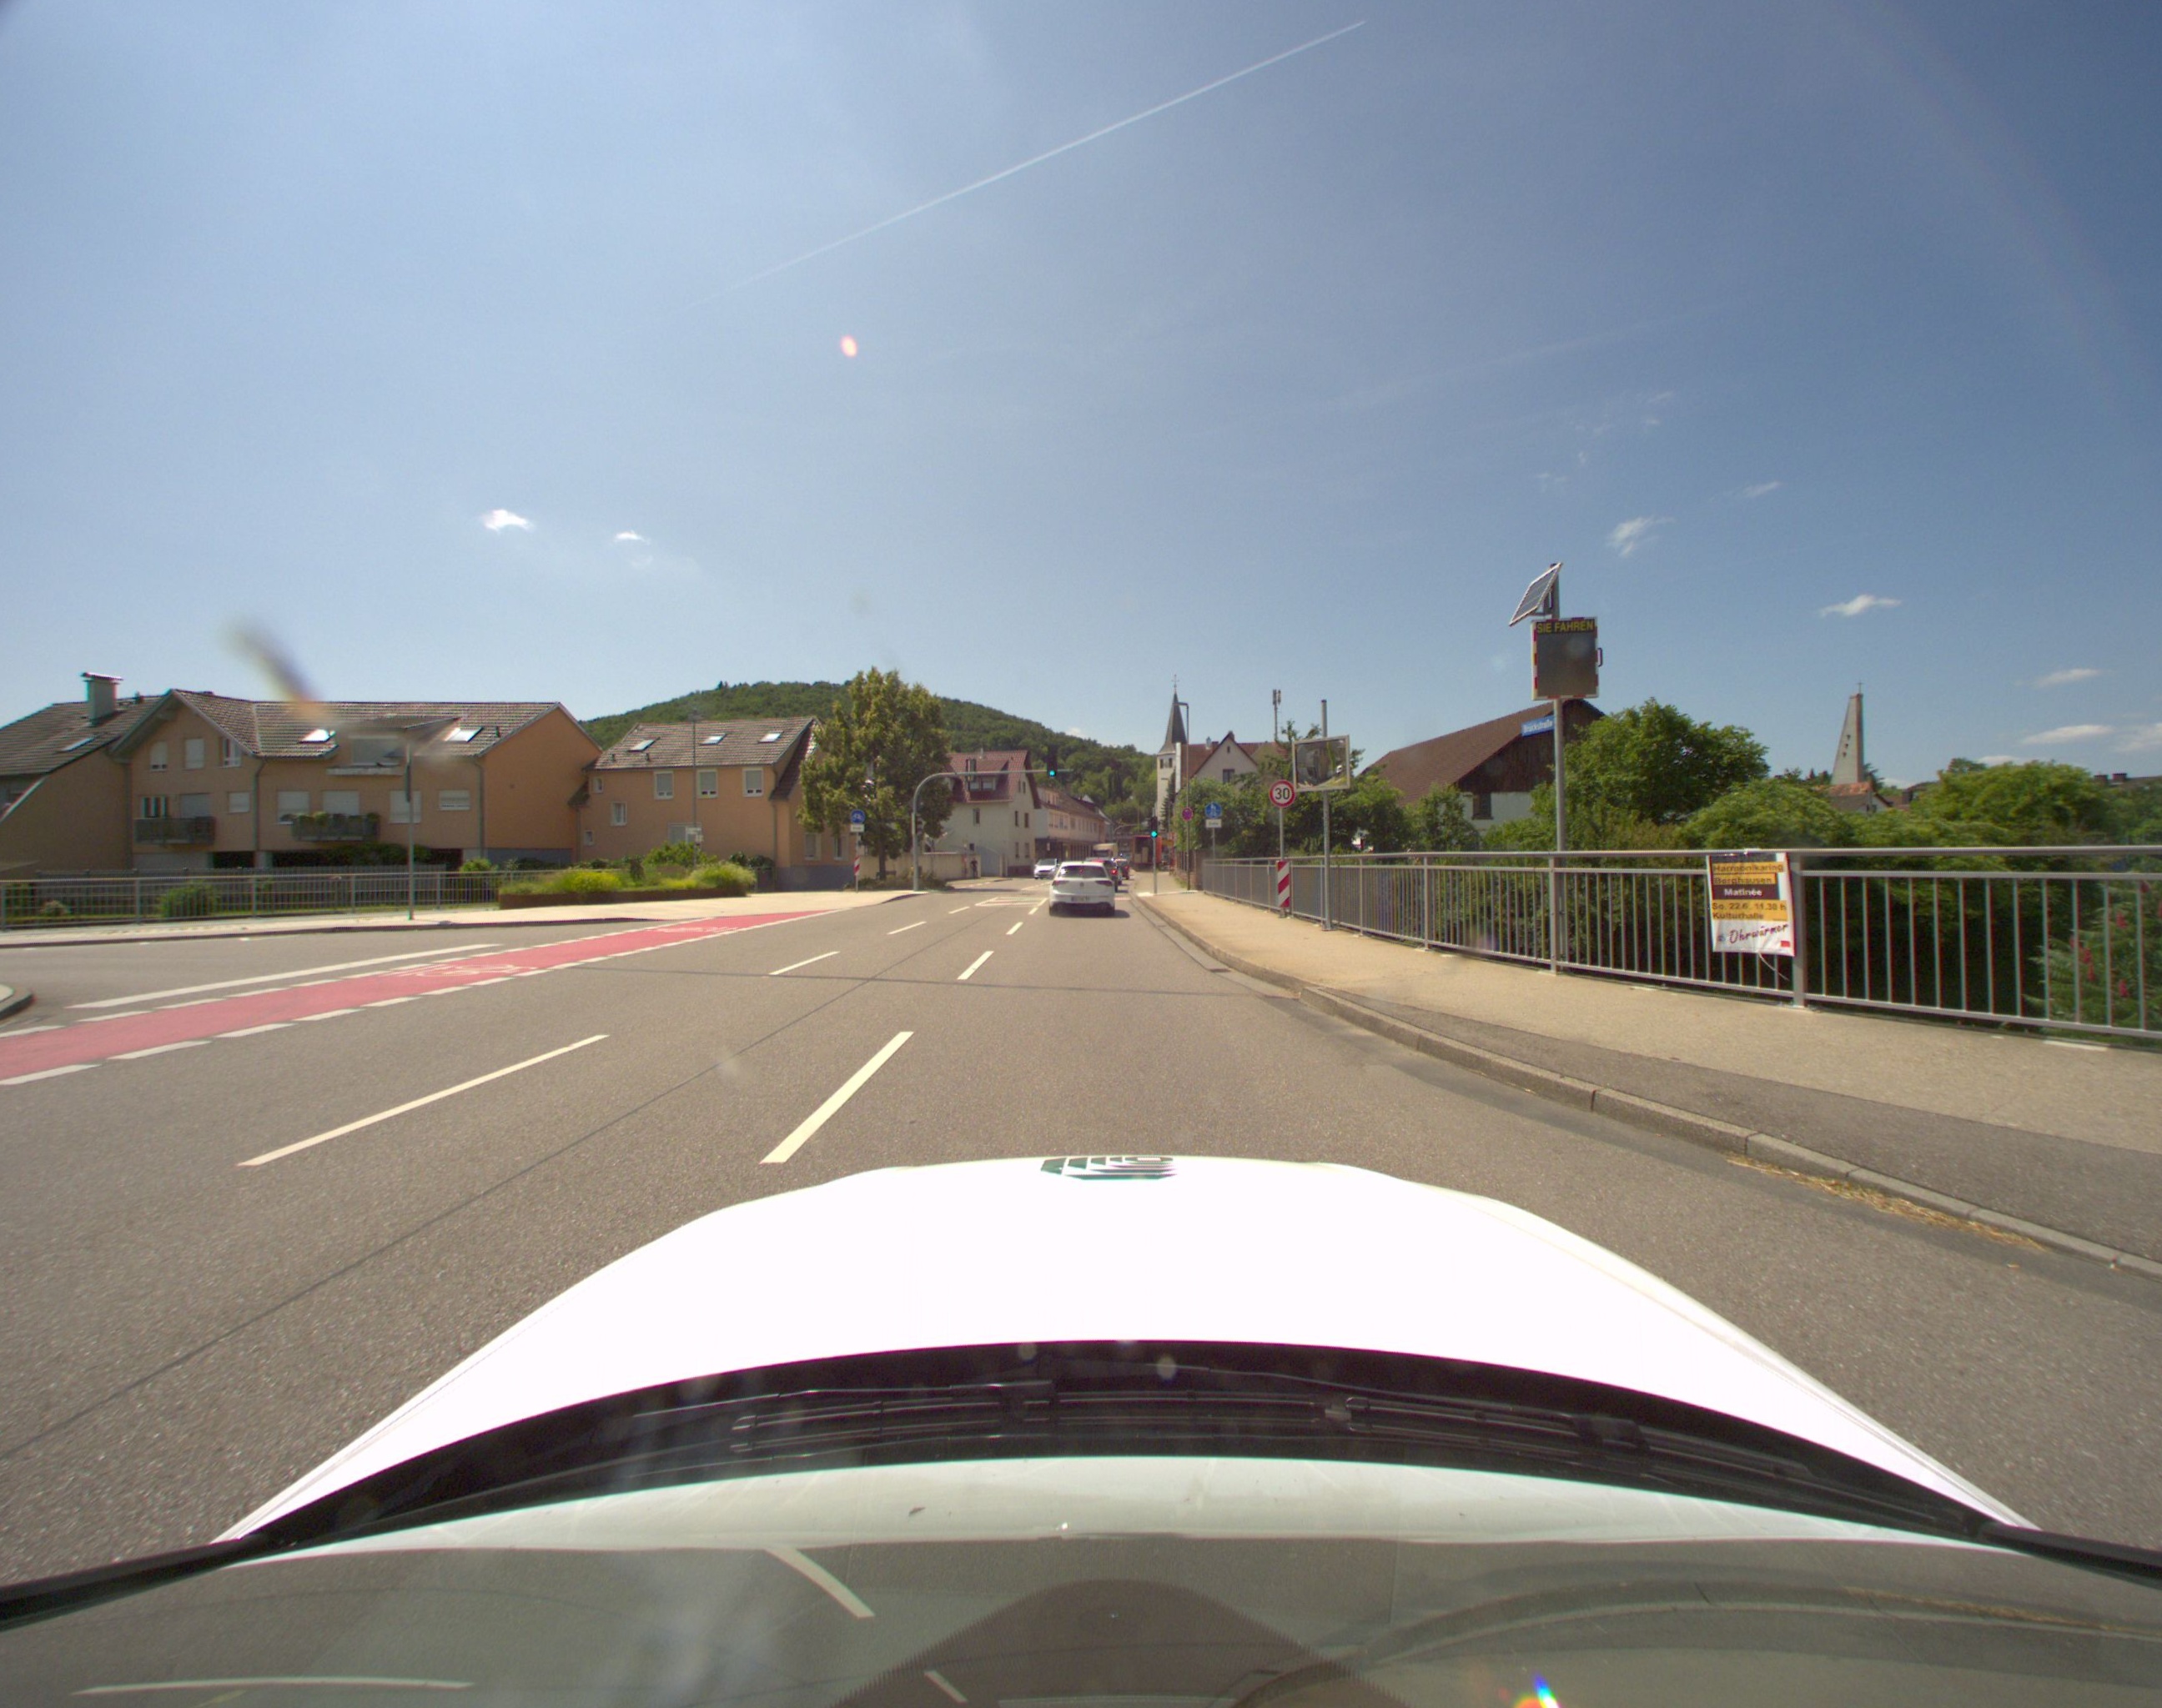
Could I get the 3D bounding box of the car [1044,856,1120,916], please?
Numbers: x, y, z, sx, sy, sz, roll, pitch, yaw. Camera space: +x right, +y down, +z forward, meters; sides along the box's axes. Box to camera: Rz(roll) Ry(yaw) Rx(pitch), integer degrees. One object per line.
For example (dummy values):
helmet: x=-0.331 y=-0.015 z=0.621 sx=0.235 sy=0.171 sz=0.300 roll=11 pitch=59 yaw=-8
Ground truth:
car: x=0.110 y=0.838 z=22.764 sx=1.807 sy=1.519 sz=4.005 roll=0 pitch=-1 yaw=4

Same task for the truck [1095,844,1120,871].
truck: x=3.354 y=0.449 z=101.642 sx=2.488 sy=3.235 sz=6.053 roll=-2 pitch=-1 yaw=8

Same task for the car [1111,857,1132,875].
car: x=3.888 y=1.134 z=76.877 sx=1.807 sy=1.519 sz=4.005 roll=-2 pitch=-1 yaw=4

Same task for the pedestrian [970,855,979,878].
pedestrian: x=-8.345 y=0.990 z=63.883 sx=0.430 sy=1.764 sz=0.560 roll=-1 pitch=-1 yaw=23

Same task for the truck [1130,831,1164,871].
truck: x=7.553 y=-0.234 z=92.717 sx=3.349 sy=4.170 sz=9.536 roll=-2 pitch=-1 yaw=7

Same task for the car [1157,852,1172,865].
car: x=11.081 y=0.603 z=107.839 sx=1.807 sy=1.519 sz=4.005 roll=-2 pitch=-1 yaw=4

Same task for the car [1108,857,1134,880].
car: x=3.054 y=1.126 z=62.261 sx=1.807 sy=1.629 sz=4.005 roll=-2 pitch=-1 yaw=4

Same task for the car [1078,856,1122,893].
car: x=0.945 y=0.951 z=38.886 sx=1.807 sy=1.629 sz=4.005 roll=-2 pitch=-1 yaw=4

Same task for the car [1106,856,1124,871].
car: x=3.761 y=1.036 z=89.241 sx=1.807 sy=1.519 sz=4.005 roll=-2 pitch=-1 yaw=4

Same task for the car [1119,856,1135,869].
car: x=5.642 y=1.085 z=99.233 sx=1.807 sy=1.519 sz=4.005 roll=-2 pitch=-1 yaw=4

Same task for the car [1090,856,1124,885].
car: x=1.620 y=1.012 z=49.679 sx=1.807 sy=1.629 sz=4.005 roll=-2 pitch=-1 yaw=4

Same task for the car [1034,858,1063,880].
car: x=-2.539 y=1.163 z=64.313 sx=1.807 sy=1.650 sz=4.005 roll=0 pitch=-1 yaw=4
